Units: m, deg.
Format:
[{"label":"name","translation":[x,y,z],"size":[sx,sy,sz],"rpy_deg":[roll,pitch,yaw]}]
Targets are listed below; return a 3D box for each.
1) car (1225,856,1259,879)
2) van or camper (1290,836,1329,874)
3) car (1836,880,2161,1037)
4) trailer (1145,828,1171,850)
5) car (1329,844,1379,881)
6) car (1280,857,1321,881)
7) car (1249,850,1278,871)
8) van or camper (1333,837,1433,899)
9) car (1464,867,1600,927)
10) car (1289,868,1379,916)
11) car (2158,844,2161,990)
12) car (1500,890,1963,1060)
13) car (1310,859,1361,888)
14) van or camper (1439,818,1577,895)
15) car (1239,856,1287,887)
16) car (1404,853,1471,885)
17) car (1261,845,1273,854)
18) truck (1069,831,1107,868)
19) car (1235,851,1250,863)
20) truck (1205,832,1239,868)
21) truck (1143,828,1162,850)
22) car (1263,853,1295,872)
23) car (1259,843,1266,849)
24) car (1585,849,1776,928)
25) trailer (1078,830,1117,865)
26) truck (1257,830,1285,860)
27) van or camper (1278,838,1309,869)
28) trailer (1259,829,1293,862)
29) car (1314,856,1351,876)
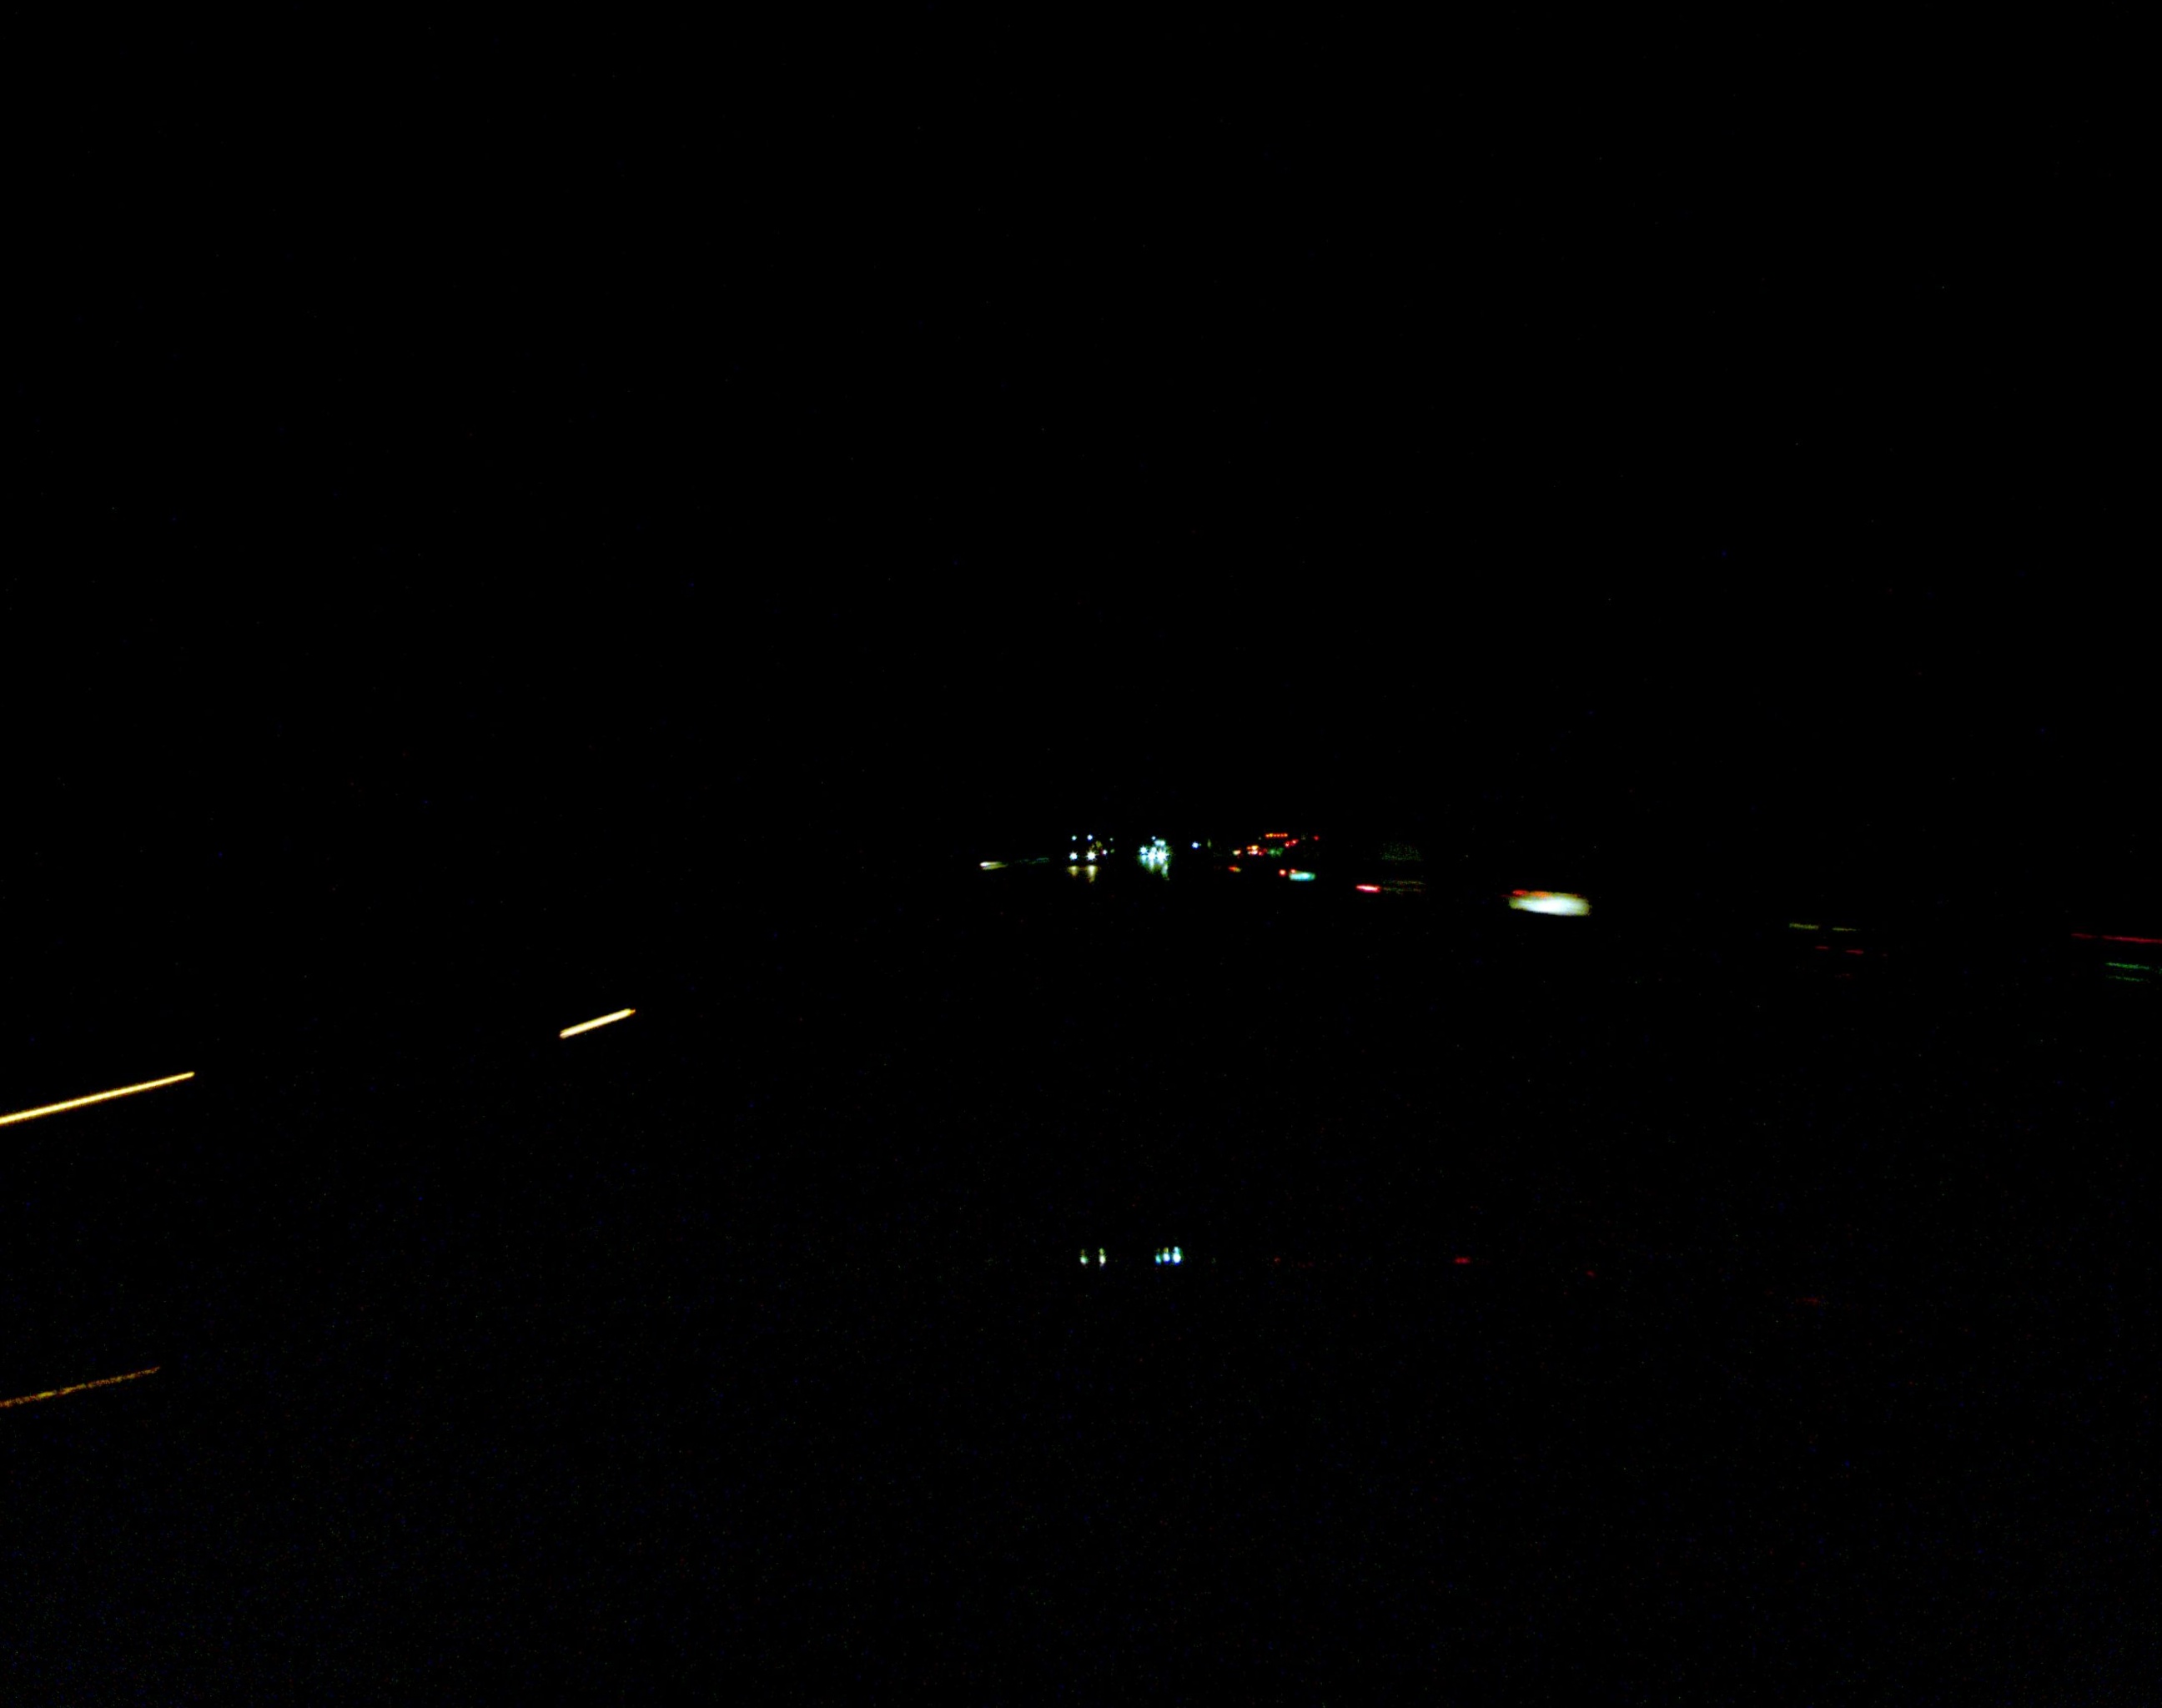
[{"label":"car","translation":[11.565,0.960,54.971],"size":[1.823,1.443,4.506],"rpy_deg":[-1,1,5]},{"label":"van or camper","translation":[21.308,0.072,71.069],"size":[2.274,3.360,5.696],"rpy_deg":[-1,1,4]},{"label":"car","translation":[12.015,1.144,9.268],"size":[1.610,1.471,4.074],"rpy_deg":[0,0,1]},{"label":"trailer","translation":[15.592,-3.101,152.349],"size":[2.837,3.952,15.776],"rpy_deg":[-3,1,14]},{"label":"car","translation":[18.874,0.547,52.743],"size":[1.838,2.357,5.448],"rpy_deg":[-1,1,5]},{"label":"car","translation":[15.004,0.988,52.221],"size":[1.838,1.443,4.506],"rpy_deg":[-1,1,5]},{"label":"car","translation":[18.070,0.620,75.427],"size":[1.998,2.002,4.000],"rpy_deg":[-2,1,2]},{"label":"van or camper","translation":[13.614,0.562,34.784],"size":[2.260,2.580,6.687],"rpy_deg":[0,0,3]},{"label":"car","translation":[12.921,1.178,22.069],"size":[1.752,1.444,3.840],"rpy_deg":[0,1,2]},{"label":"car","translation":[9.109,1.313,27.786],"size":[1.758,1.536,4.715],"rpy_deg":[-1,0,1]},{"label":"car","translation":[15.319,0.847,7.609],"size":[1.998,1.948,4.986],"rpy_deg":[0,0,1]},{"label":"car","translation":[7.311,1.234,9.361],"size":[1.758,1.346,4.635],"rpy_deg":[-1,0,1]},{"label":"car","translation":[15.024,1.111,45.093],"size":[1.823,1.506,4.506],"rpy_deg":[-1,1,5]},{"label":"van or camper","translation":[16.993,0.042,30.760],"size":[2.450,2.745,6.490],"rpy_deg":[-1,1,5]},{"label":"car","translation":[9.730,0.903,40.981],"size":[1.838,1.443,4.506],"rpy_deg":[-1,1,5]},{"label":"car","translation":[19.585,0.790,41.961],"size":[1.838,1.600,4.506],"rpy_deg":[-1,1,5]},{"label":"car","translation":[31.422,-0.777,128.459],"size":[1.603,1.434,4.002],"rpy_deg":[-1,1,8]},{"label":"truck","translation":[0.924,-0.629,88.925],"size":[2.872,3.819,8.056],"rpy_deg":[-4,3,11]},{"label":"car","translation":[20.447,0.397,96.335],"size":[1.603,1.434,4.002],"rpy_deg":[-1,1,8]},{"label":"truck","translation":[14.924,-0.481,80.959],"size":[2.660,3.570,8.552],"rpy_deg":[-3,1,6]},{"label":"truck","translation":[13.562,-2.861,144.277],"size":[2.897,3.949,4.003],"rpy_deg":[-3,1,14]},{"label":"car","translation":[16.695,0.679,64.158],"size":[1.838,1.443,4.506],"rpy_deg":[-1,1,5]},{"label":"car","translation":[47.379,-2.137,198.185],"size":[1.819,1.460,4.283],"rpy_deg":[-2,1,15]},{"label":"car","translation":[16.527,0.856,21.315],"size":[1.844,1.912,4.564],"rpy_deg":[0,1,2]},{"label":"trailer","translation":[2.262,-0.947,96.299],"size":[2.879,3.909,12.892],"rpy_deg":[-4,2,10]},{"label":"truck","translation":[27.462,-1.360,109.950],"size":[3.424,4.199,6.286],"rpy_deg":[-1,1,10]},{"label":"van or camper","translation":[21.787,-0.102,78.047],"size":[1.837,2.954,6.401],"rpy_deg":[-1,1,5]},{"label":"trailer","translation":[26.162,-1.205,102.387],"size":[3.441,4.217,12.839],"rpy_deg":[-1,1,10]},{"label":"car","translation":[19.888,0.904,60.168],"size":[1.838,1.443,4.002],"rpy_deg":[-1,1,5]}]
